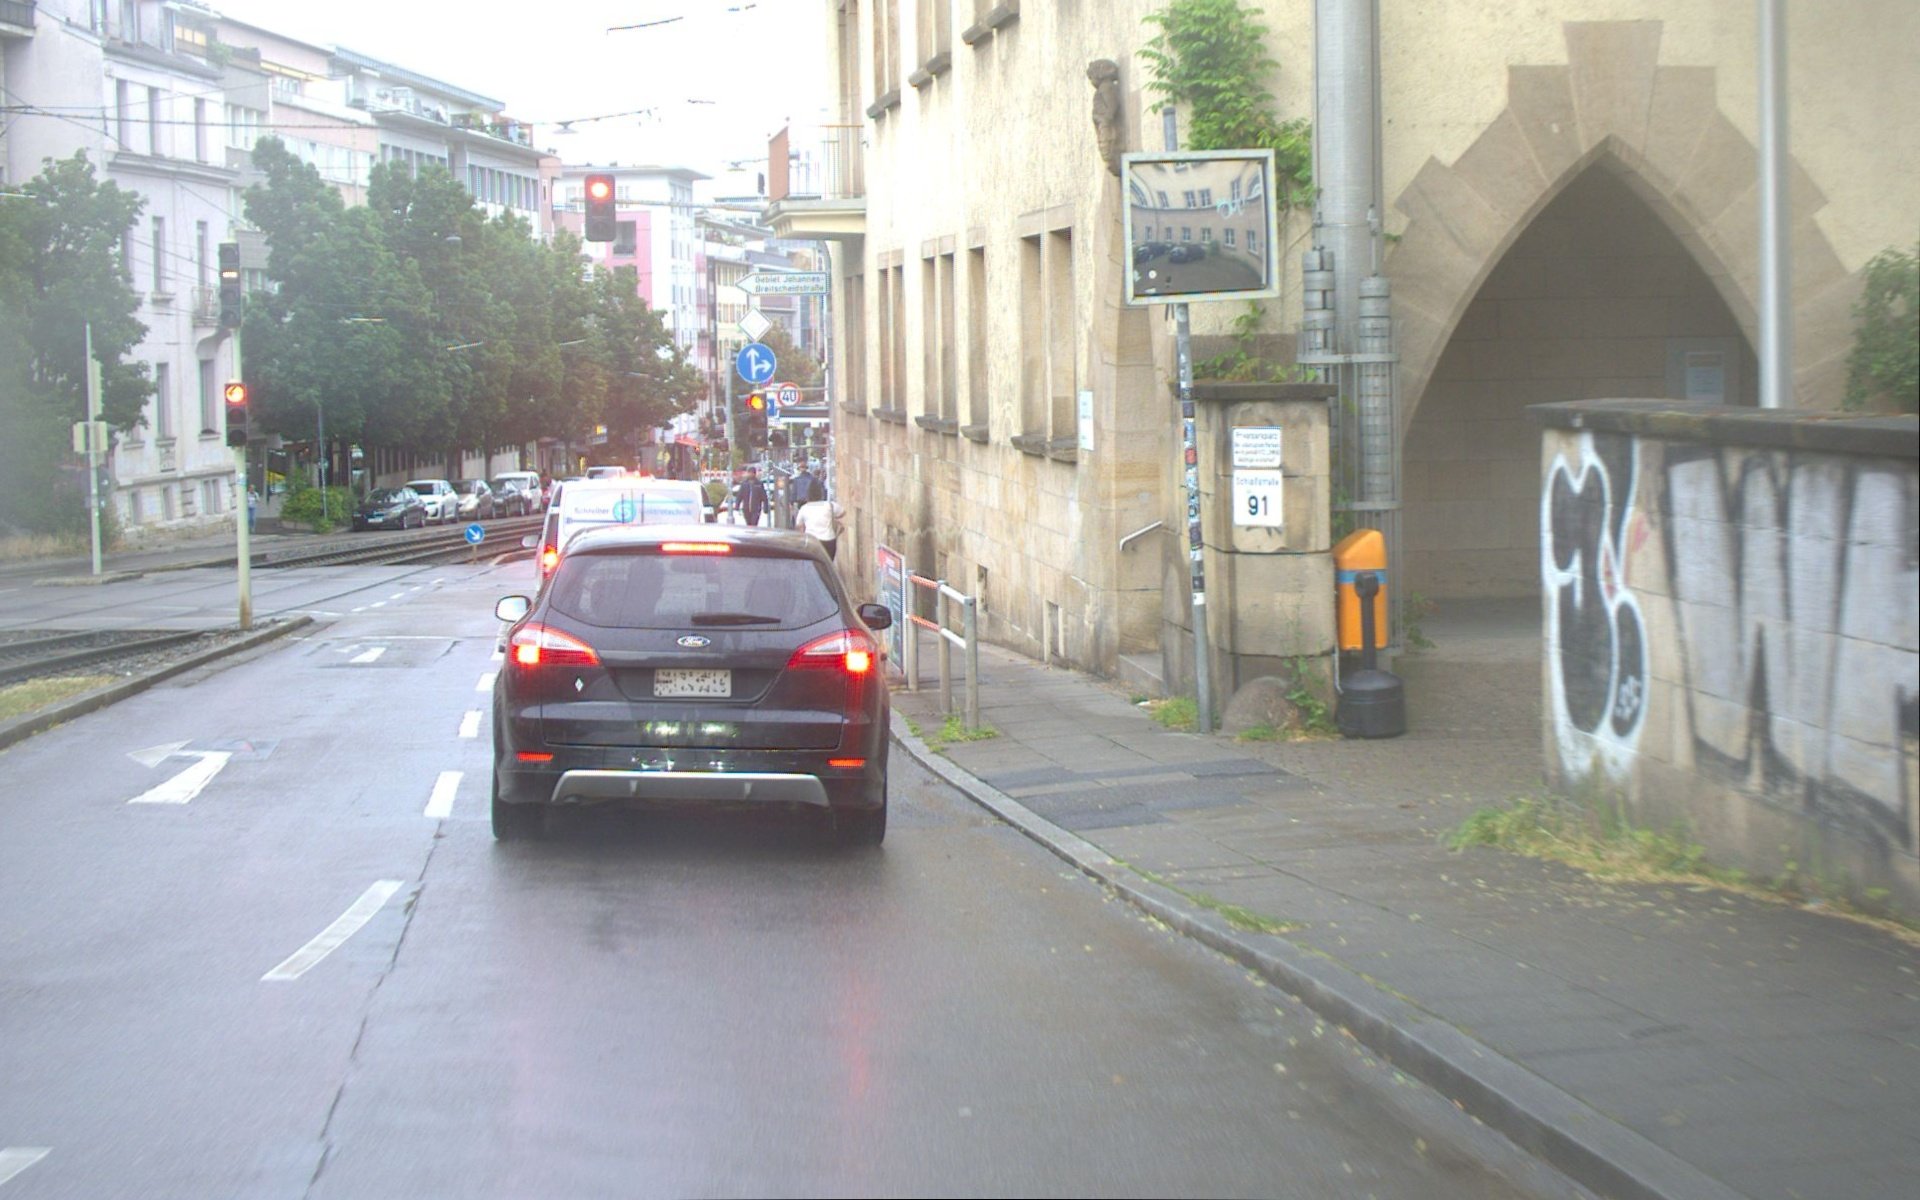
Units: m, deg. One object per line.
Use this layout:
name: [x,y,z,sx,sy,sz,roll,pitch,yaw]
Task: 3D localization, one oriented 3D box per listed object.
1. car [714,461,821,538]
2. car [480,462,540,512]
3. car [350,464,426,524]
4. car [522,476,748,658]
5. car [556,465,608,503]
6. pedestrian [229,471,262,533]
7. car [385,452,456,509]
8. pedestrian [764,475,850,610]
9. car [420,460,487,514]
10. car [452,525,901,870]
car: [-4.559,-2.413,82.074,1.994,1.766,4.000,-1,2,5]
car: [-18.573,-4.664,142.087,1.993,2.006,4.001,-1,2,-1]
car: [-19.692,-3.660,118.426,1.993,2.006,4.001,-1,2,-1]
car: [-3.519,-0.410,36.533,2.136,1.739,4.219,-2,2,-8]
car: [-17.037,-5.244,155.173,1.993,1.656,4.001,-1,2,-1]
pedestrian: [-23.508,-3.229,113.073,0.941,2.006,0.765,-2,2,-15]
car: [-19.552,-4.329,124.721,1.993,2.006,4.001,-1,2,-1]
pedestrian: [-2.082,-0.786,46.579,1.045,1.788,0.902,-1,2,-8]
car: [-19.301,-4.311,131.116,1.993,2.006,4.001,-1,2,-1]
car: [-1.373,0.377,16.786,1.920,1.474,4.001,0,1,-5]
